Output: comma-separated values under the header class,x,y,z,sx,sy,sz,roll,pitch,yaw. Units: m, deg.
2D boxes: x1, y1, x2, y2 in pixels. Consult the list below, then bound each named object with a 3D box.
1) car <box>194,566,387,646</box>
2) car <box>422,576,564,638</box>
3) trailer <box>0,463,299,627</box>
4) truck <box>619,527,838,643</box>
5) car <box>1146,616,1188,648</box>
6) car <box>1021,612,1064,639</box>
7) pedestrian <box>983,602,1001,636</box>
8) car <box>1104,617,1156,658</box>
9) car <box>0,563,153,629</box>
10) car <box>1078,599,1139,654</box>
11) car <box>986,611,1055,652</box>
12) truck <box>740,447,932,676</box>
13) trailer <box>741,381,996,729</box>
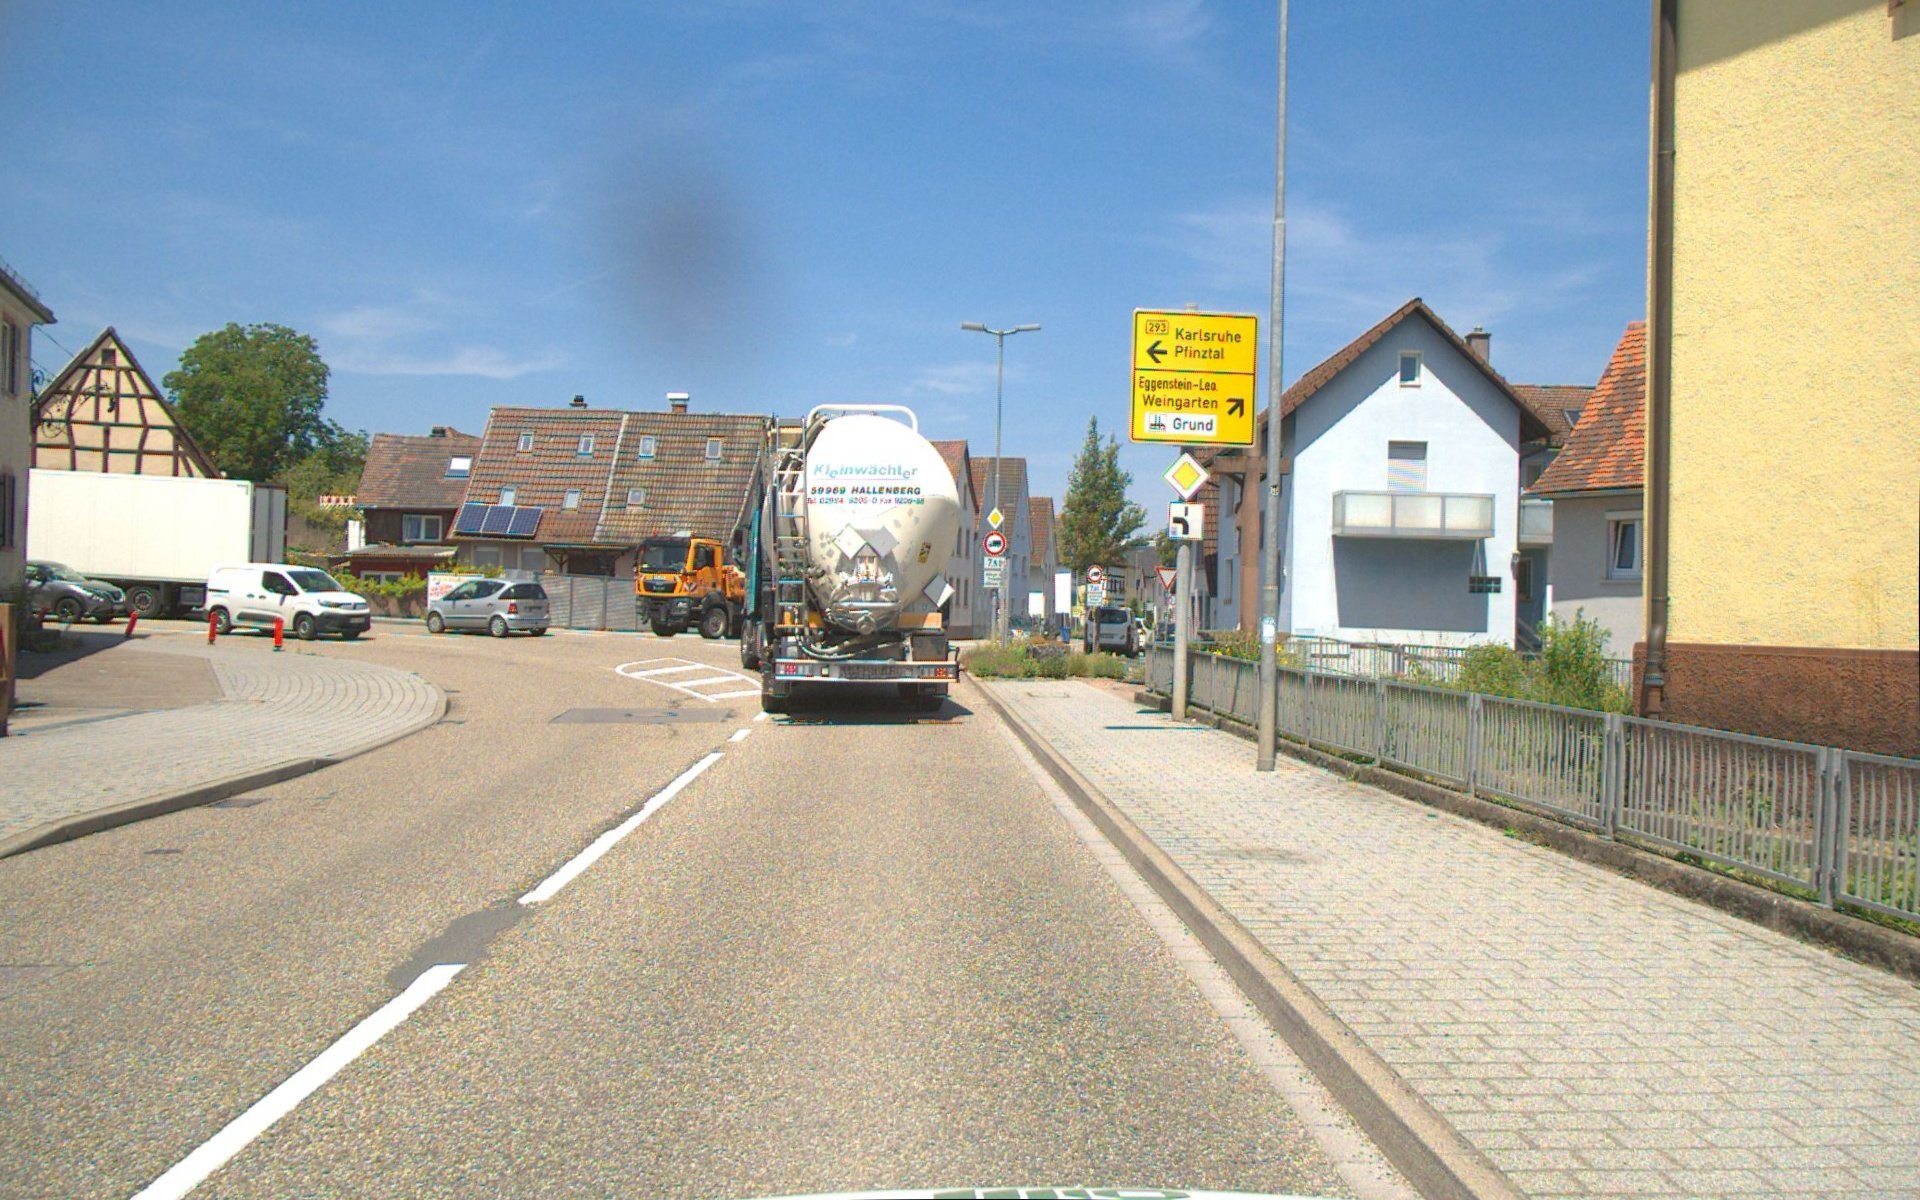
class,x,y,z,sx,sy,sz,roll,pitch,yaw
car,-17.131,0.140,42.341,4.413,1.816,1.880,2,1,19
car,-12.872,0.197,45.547,3.527,1.613,1.784,1,-1,30
trailer,-26.031,-1.606,47.980,12.204,4.352,3.140,2,-1,-3
truck,-7.220,-0.387,52.750,2.614,3.237,7.440,1,-2,33
car,11.197,1.704,89.412,1.951,1.612,4.003,2,-1,11
car,5.282,1.664,105.752,1.681,1.624,4.001,2,-1,18
pedestrian,1.944,1.144,99.500,0.753,2.049,0.977,2,-1,18
car,7.331,1.580,71.102,1.778,1.663,4.211,1,-1,12
car,-24.129,-0.116,44.561,3.902,1.550,1.799,3,0,8
car,5.803,1.065,64.188,1.951,1.946,4.327,2,-2,10
car,2.970,1.549,80.171,1.953,1.704,4.311,2,-3,22
truck,-2.602,-0.679,32.805,2.935,4.034,5.562,2,-1,-12
trailer,-1.690,-0.488,25.479,2.896,4.017,11.602,2,-1,-6
